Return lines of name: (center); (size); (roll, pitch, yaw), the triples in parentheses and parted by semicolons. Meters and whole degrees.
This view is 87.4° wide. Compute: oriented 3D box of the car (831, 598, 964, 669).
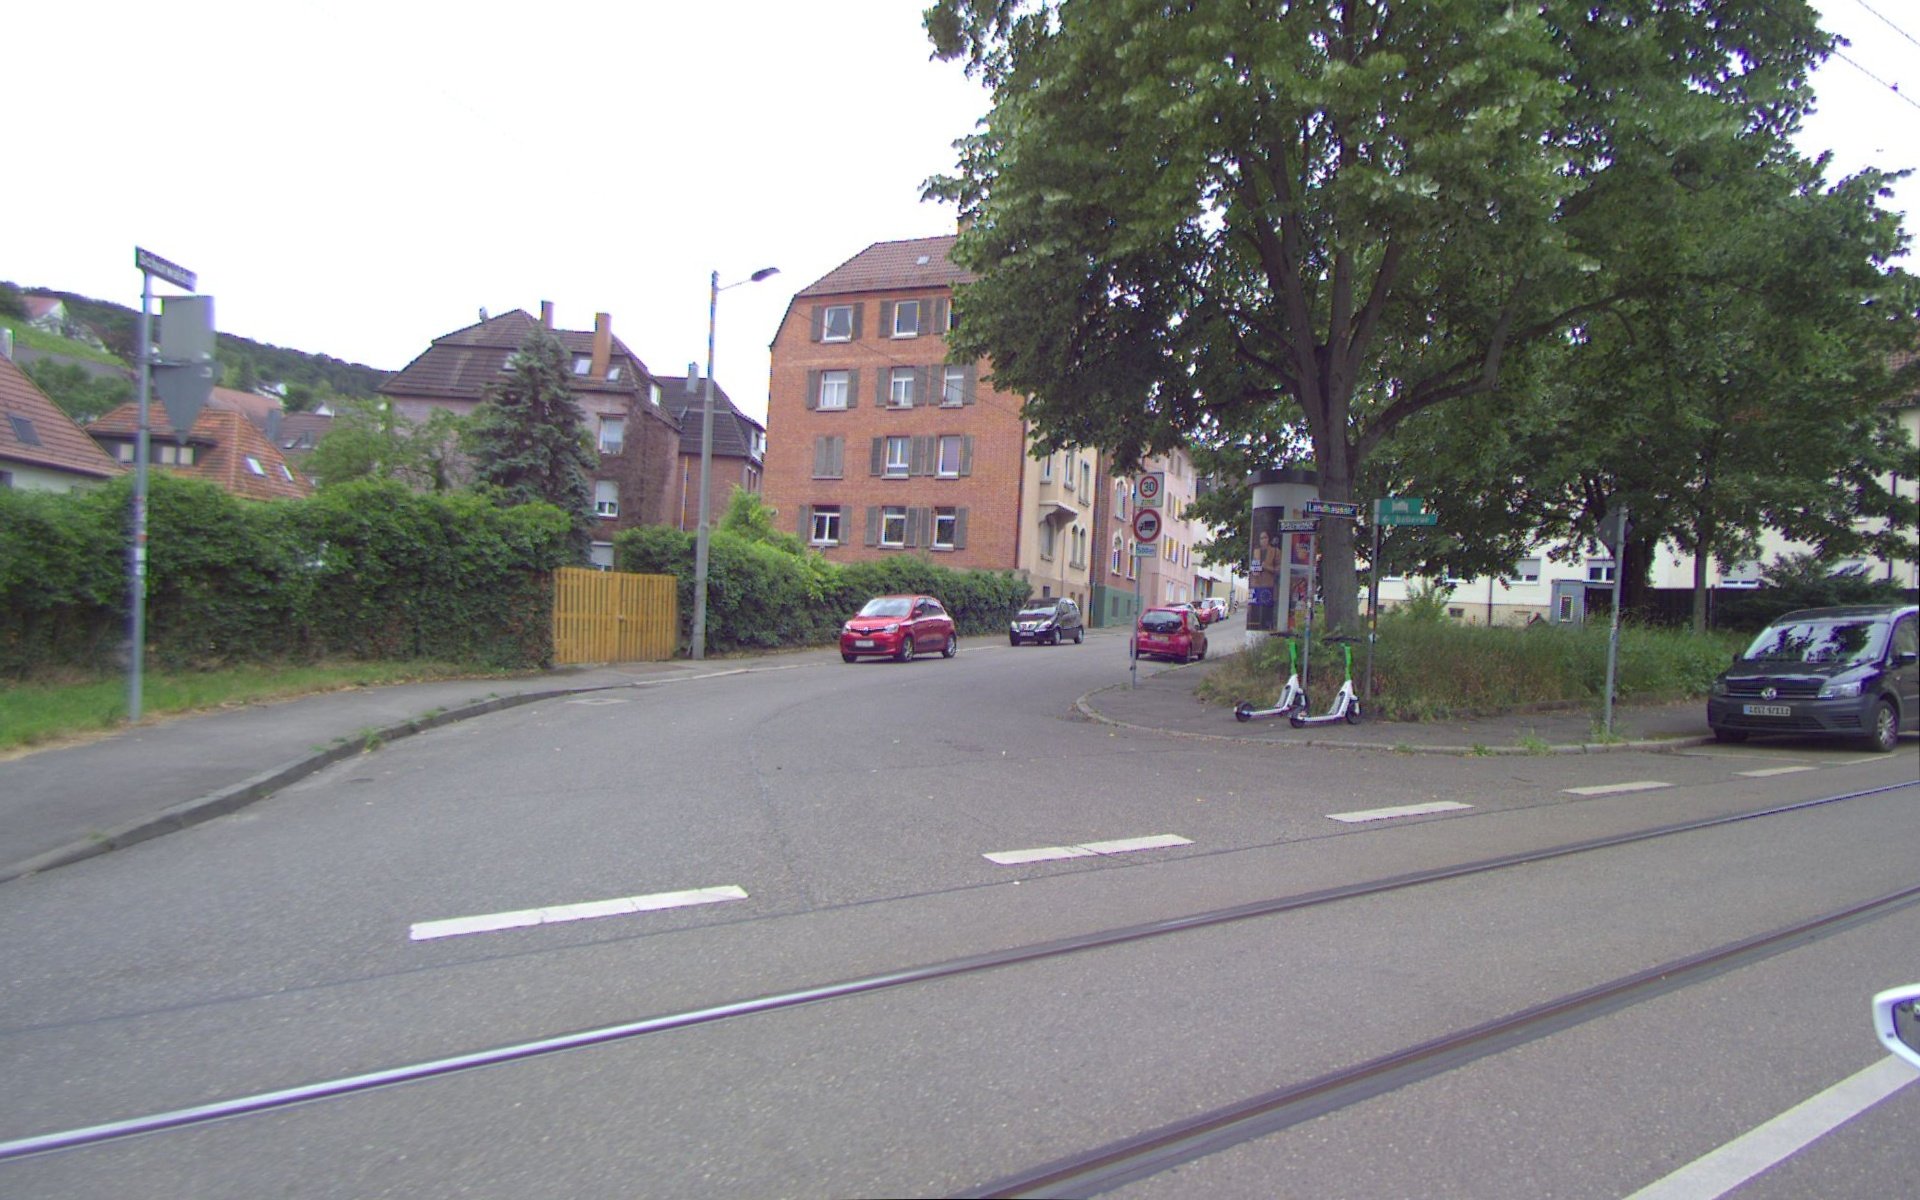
car: (-1.411, 0.735, 23.996); (1.716, 1.497, 3.611); (2, 1, 23)

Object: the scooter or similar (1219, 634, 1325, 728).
scooter or similar: (4.231, 1.065, 13.587); (1.697, 1.161, 0.310); (-1, 2, -31)

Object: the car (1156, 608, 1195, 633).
car: (11.778, 1.090, 54.833); (1.429, 1.252, 3.419); (2, 1, 23)

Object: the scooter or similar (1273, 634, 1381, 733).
scooter or similar: (4.785, 1.058, 13.049); (1.697, 1.161, 0.310); (-1, 2, -31)

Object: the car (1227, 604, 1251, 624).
car: (22.609, 1.138, 81.333); (1.429, 1.498, 3.780); (2, -2, 23)

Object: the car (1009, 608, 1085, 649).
car: (3.010, 0.921, 34.052); (1.429, 1.252, 3.779); (2, 1, 23)

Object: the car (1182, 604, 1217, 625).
car: (14.804, 0.868, 62.012); (1.429, 1.252, 3.779); (2, 1, 23)

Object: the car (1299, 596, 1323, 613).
car: (30.609, 0.382, 87.527); (1.644, 1.434, 3.728); (2, 1, 24)

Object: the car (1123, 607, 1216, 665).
car: (5.947, 0.943, 28.190); (1.622, 1.434, 3.726); (2, 1, 27)

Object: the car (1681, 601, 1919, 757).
car: (11.877, 0.991, 13.457); (4.611, 1.798, 1.755); (1, -3, -29)
